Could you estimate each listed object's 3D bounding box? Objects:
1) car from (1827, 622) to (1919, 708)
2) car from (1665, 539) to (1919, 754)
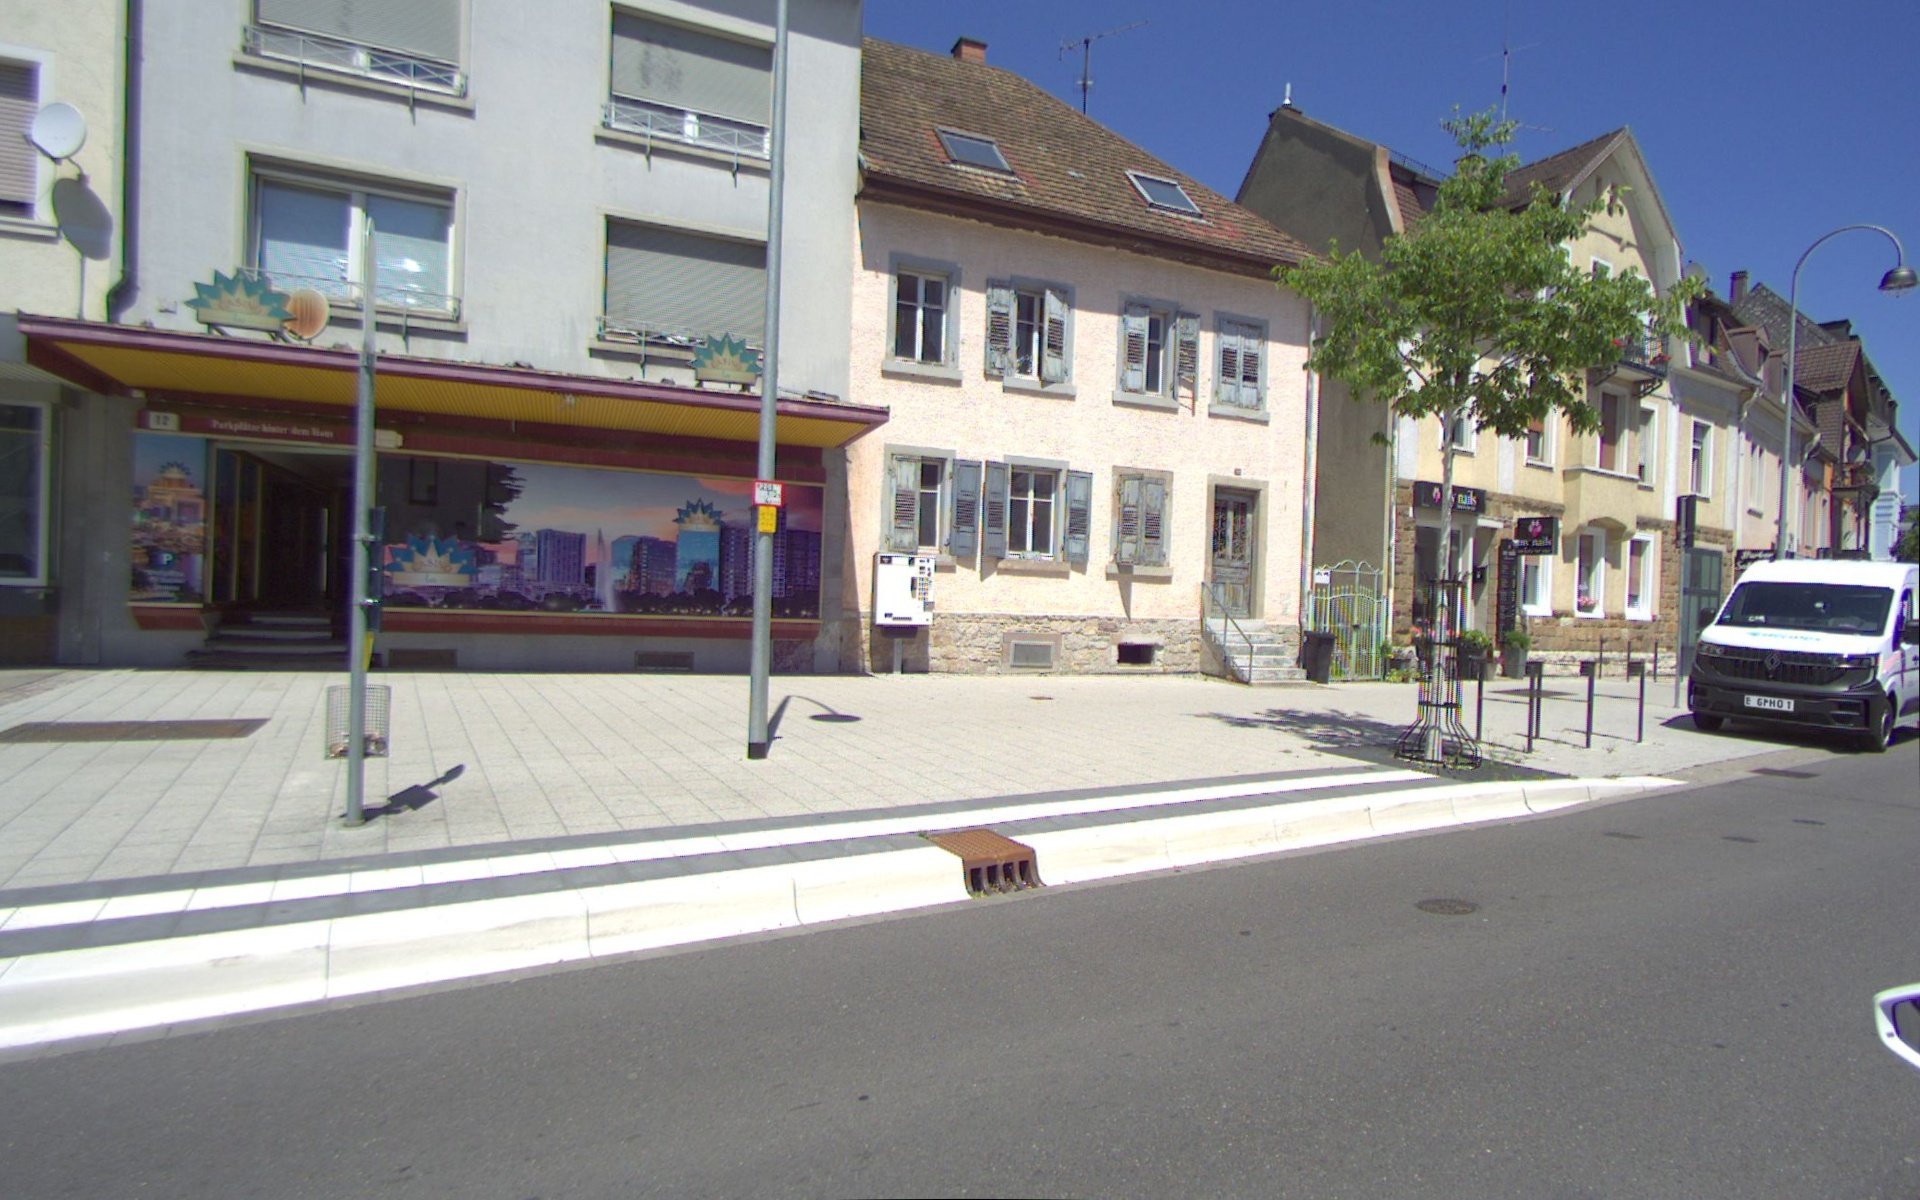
[{"bbox_3d":[18.942,1.291,20.328,3.488,1.541,1.546,3,0,-41],"label":"car"},{"bbox_3d":[12.315,0.570,14.304,5.453,2.531,2.076,2,2,-38],"label":"car"}]
